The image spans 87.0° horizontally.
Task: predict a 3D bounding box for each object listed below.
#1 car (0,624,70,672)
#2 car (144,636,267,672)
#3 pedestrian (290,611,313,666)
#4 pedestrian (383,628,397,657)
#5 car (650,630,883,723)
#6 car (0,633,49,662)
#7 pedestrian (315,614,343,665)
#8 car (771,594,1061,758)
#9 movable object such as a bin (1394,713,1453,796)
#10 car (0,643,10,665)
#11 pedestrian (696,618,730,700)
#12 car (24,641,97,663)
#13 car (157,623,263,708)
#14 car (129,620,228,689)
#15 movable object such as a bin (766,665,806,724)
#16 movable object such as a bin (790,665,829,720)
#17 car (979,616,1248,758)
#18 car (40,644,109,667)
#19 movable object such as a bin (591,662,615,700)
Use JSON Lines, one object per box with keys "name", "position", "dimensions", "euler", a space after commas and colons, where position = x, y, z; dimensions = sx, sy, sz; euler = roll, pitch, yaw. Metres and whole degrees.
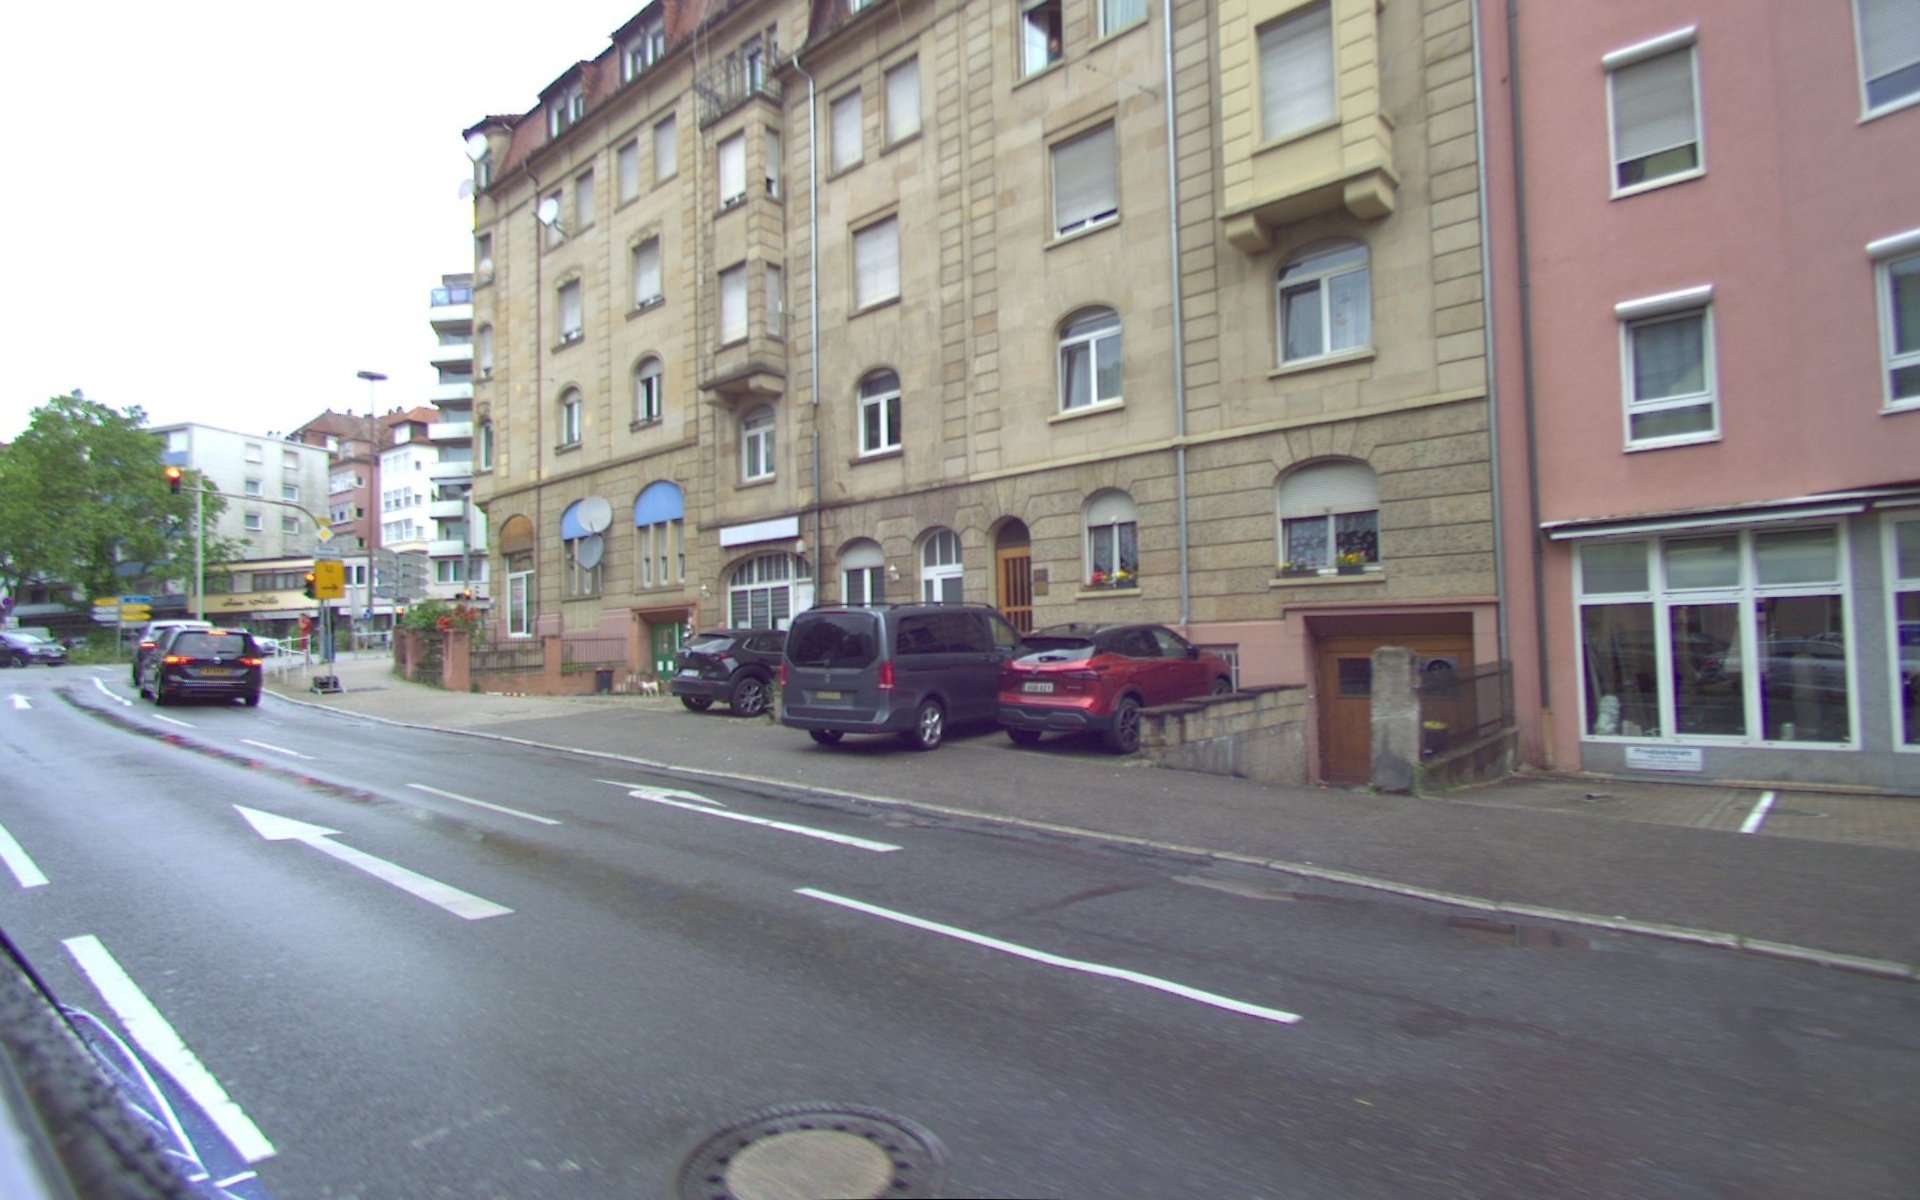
{"name": "car", "position": [-42.172, 2.132, 44.751], "dimensions": [4.461, 2.029, 1.910], "euler": [-1, -1, 11]}
{"name": "car", "position": [-33.714, 2.392, 45.349], "dimensions": [4.108, 1.494, 1.763], "euler": [-1, -2, -20]}
{"name": "pedestrian", "position": [-21.787, 1.271, 33.483], "dimensions": [0.516, 1.787, 0.694], "euler": [-1, -1, -42]}
{"name": "pedestrian", "position": [-34.855, 2.593, 61.922], "dimensions": [0.609, 1.706, 0.626], "euler": [0, -2, -14]}
{"name": "car", "position": [-3.590, 1.373, 19.299], "dimensions": [1.872, 1.522, 4.104], "euler": [-2, -2, 41]}
{"name": "car", "position": [-69.522, 3.491, 73.435], "dimensions": [1.861, 1.992, 4.957], "euler": [-1, 0, 12]}
{"name": "pedestrian", "position": [-21.939, 1.360, 35.173], "dimensions": [0.829, 1.715, 0.629], "euler": [-3, -1, 44]}
{"name": "car", "position": [-0.428, 0.921, 14.533], "dimensions": [1.857, 1.953, 4.640], "euler": [-2, -1, 31]}
{"name": "movable object such as a bin", "position": [6.276, 2.079, 13.719], "dimensions": [0.526, 1.004, 0.551], "euler": [0, -1, -43]}
{"name": "car", "position": [-73.969, 4.083, 75.753], "dimensions": [1.789, 1.702, 3.819], "euler": [0, -1, 14]}
{"name": "pedestrian", "position": [-5.506, 1.314, 22.614], "dimensions": [0.560, 1.790, 0.476], "euler": [1, -1, 14]}
{"name": "car", "position": [-64.619, 3.707, 72.780], "dimensions": [1.790, 1.426, 3.697], "euler": [-1, 0, 7]}
{"name": "car", "position": [-16.344, 1.400, 21.971], "dimensions": [1.600, 1.662, 4.428], "euler": [5, -5, -38]}
{"name": "car", "position": [-21.681, 1.426, 27.992], "dimensions": [1.940, 1.706, 4.815], "euler": [1, -1, -40]}
{"name": "movable object such as a bin", "position": [-2.944, 1.590, 17.143], "dimensions": [0.499, 0.957, 0.441], "euler": [0, -1, -43]}
{"name": "movable object such as a bin", "position": [-2.606, 1.593, 17.556], "dimensions": [0.499, 0.911, 0.441], "euler": [0, -1, -43]}
{"name": "car", "position": [2.276, 1.075, 14.208], "dimensions": [1.896, 1.602, 4.055], "euler": [-1, 0, 40]}
{"name": "car", "position": [-62.768, 3.899, 71.814], "dimensions": [1.609, 1.426, 3.619], "euler": [-1, 0, 3]}
{"name": "movable object such as a bin", "position": [-9.570, 2.164, 27.125], "dimensions": [0.469, 0.957, 0.418], "euler": [0, -2, -43]}
